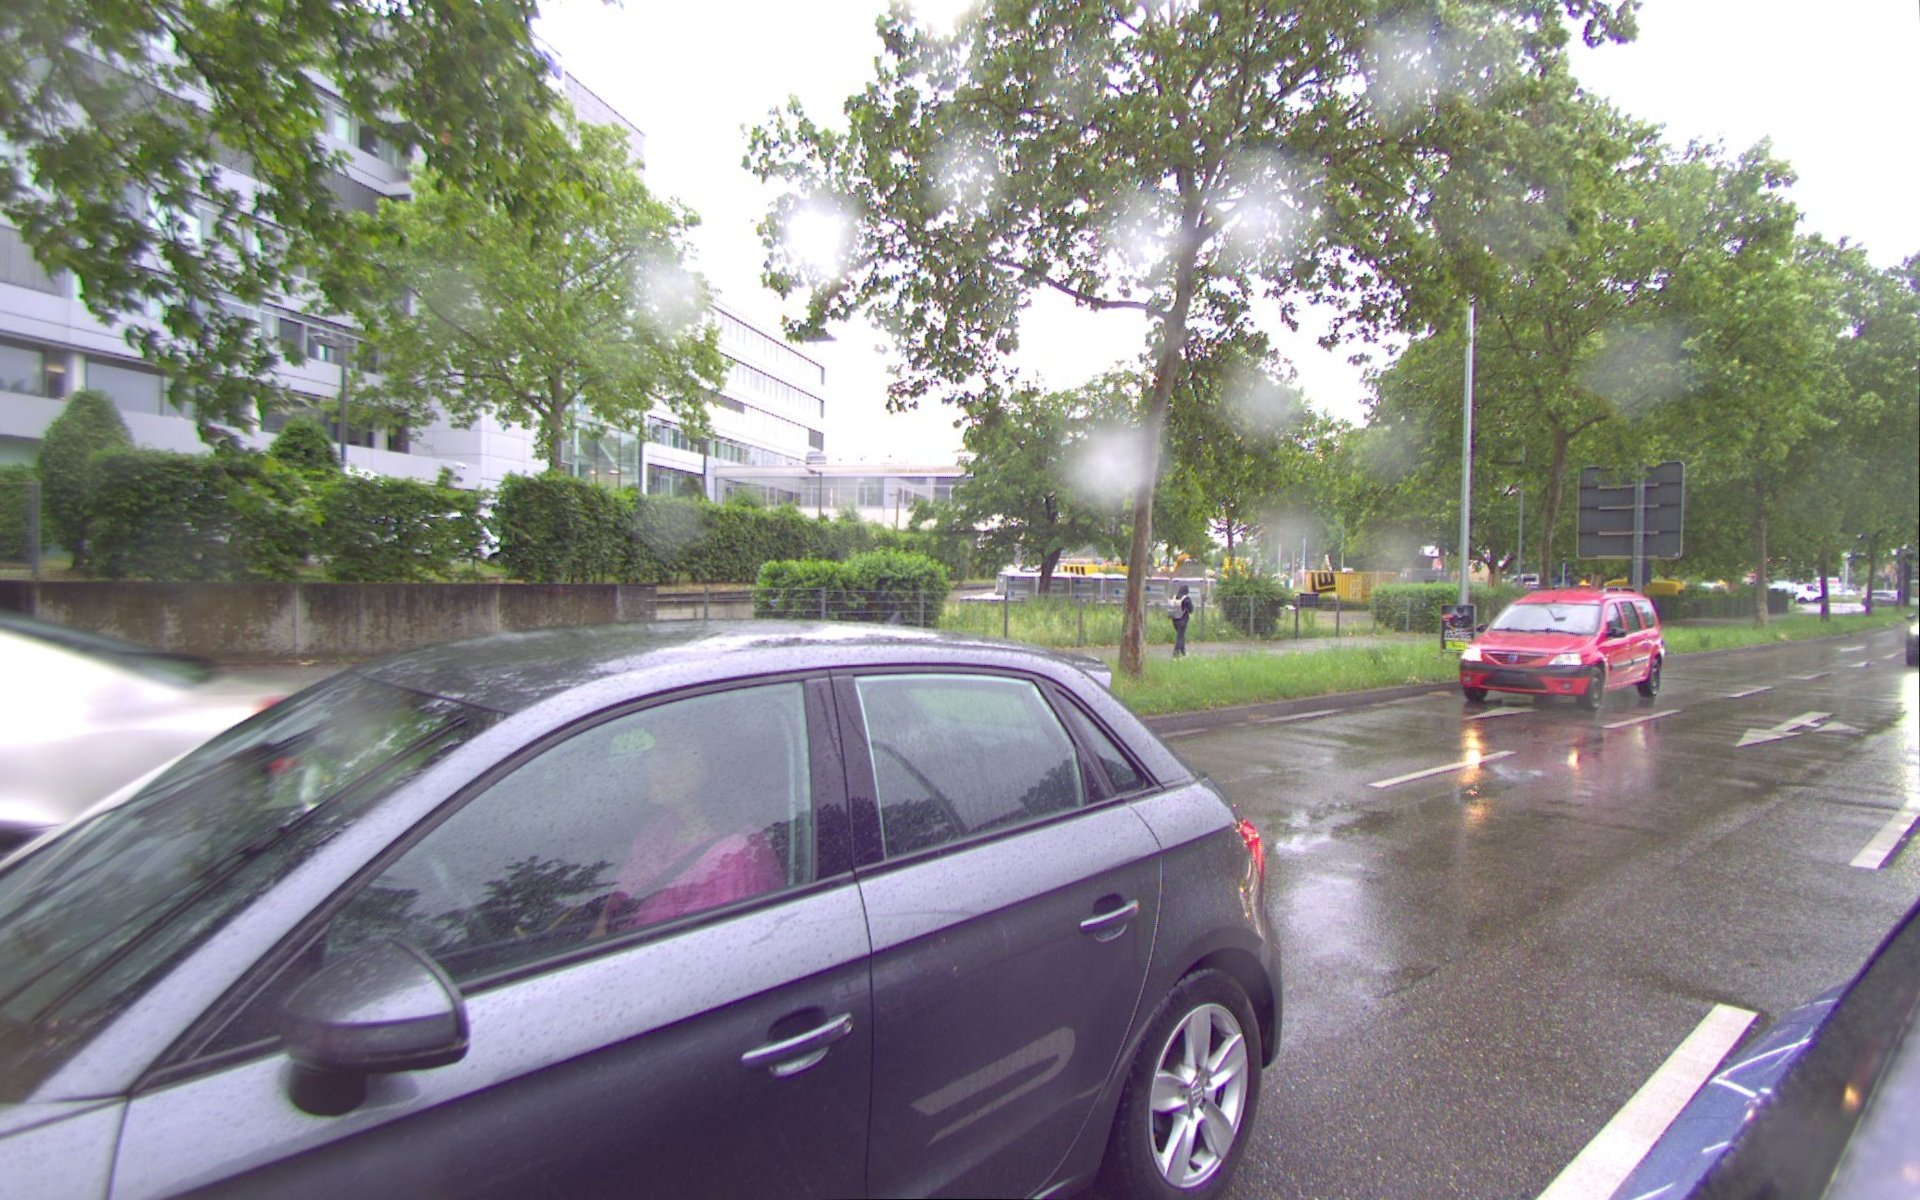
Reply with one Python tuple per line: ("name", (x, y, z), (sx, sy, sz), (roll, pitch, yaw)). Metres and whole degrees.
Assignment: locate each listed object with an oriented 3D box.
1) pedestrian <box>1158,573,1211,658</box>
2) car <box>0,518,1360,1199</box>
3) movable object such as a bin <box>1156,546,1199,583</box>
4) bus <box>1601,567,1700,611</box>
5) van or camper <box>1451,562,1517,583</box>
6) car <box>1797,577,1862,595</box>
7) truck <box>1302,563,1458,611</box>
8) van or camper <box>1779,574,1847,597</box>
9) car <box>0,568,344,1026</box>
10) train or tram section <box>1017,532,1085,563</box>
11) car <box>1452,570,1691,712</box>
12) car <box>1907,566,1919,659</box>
("pedestrian", (4.856, 0.307, 21.879), (0.664, 1.784, 1.059), (1, 1, 43))
("car", (-0.976, 0.638, 2.270), (3.932, 1.470, 1.996), (-1, 1, -43))
("movable object such as a bin", (22.407, -3.684, 104.417), (3.253, 3.670, 3.618), (0, 2, -6))
("bus", (43.743, -0.705, 64.213), (1.964, 2.680, 4.803), (0, 1, -39))
("van or camper", (84.075, -4.419, 162.569), (8.846, 3.196, 2.976), (0, 2, 14))
("car", (85.715, -1.392, 99.803), (4.391, 1.693, 1.863), (2, 2, 11))
("truck", (28.309, -0.878, 68.733), (9.359, 3.069, 3.070), (0, 2, 14))
("van or camper", (86.844, -1.488, 103.088), (4.830, 2.114, 1.863), (2, 2, 11))
("car", (-4.535, 0.619, 3.102), (4.310, 1.448, 1.806), (-1, 2, -41))
("train or tram section", (11.244, -6.462, 124.813), (8.238, 3.563, 2.393), (-1, 1, 11))
("car", (9.133, 0.478, 14.953), (4.478, 1.791, 1.699), (-1, 2, -41))
("car", (24.407, 0.272, 24.306), (4.478, 2.159, 1.934), (-1, 0, -41))
